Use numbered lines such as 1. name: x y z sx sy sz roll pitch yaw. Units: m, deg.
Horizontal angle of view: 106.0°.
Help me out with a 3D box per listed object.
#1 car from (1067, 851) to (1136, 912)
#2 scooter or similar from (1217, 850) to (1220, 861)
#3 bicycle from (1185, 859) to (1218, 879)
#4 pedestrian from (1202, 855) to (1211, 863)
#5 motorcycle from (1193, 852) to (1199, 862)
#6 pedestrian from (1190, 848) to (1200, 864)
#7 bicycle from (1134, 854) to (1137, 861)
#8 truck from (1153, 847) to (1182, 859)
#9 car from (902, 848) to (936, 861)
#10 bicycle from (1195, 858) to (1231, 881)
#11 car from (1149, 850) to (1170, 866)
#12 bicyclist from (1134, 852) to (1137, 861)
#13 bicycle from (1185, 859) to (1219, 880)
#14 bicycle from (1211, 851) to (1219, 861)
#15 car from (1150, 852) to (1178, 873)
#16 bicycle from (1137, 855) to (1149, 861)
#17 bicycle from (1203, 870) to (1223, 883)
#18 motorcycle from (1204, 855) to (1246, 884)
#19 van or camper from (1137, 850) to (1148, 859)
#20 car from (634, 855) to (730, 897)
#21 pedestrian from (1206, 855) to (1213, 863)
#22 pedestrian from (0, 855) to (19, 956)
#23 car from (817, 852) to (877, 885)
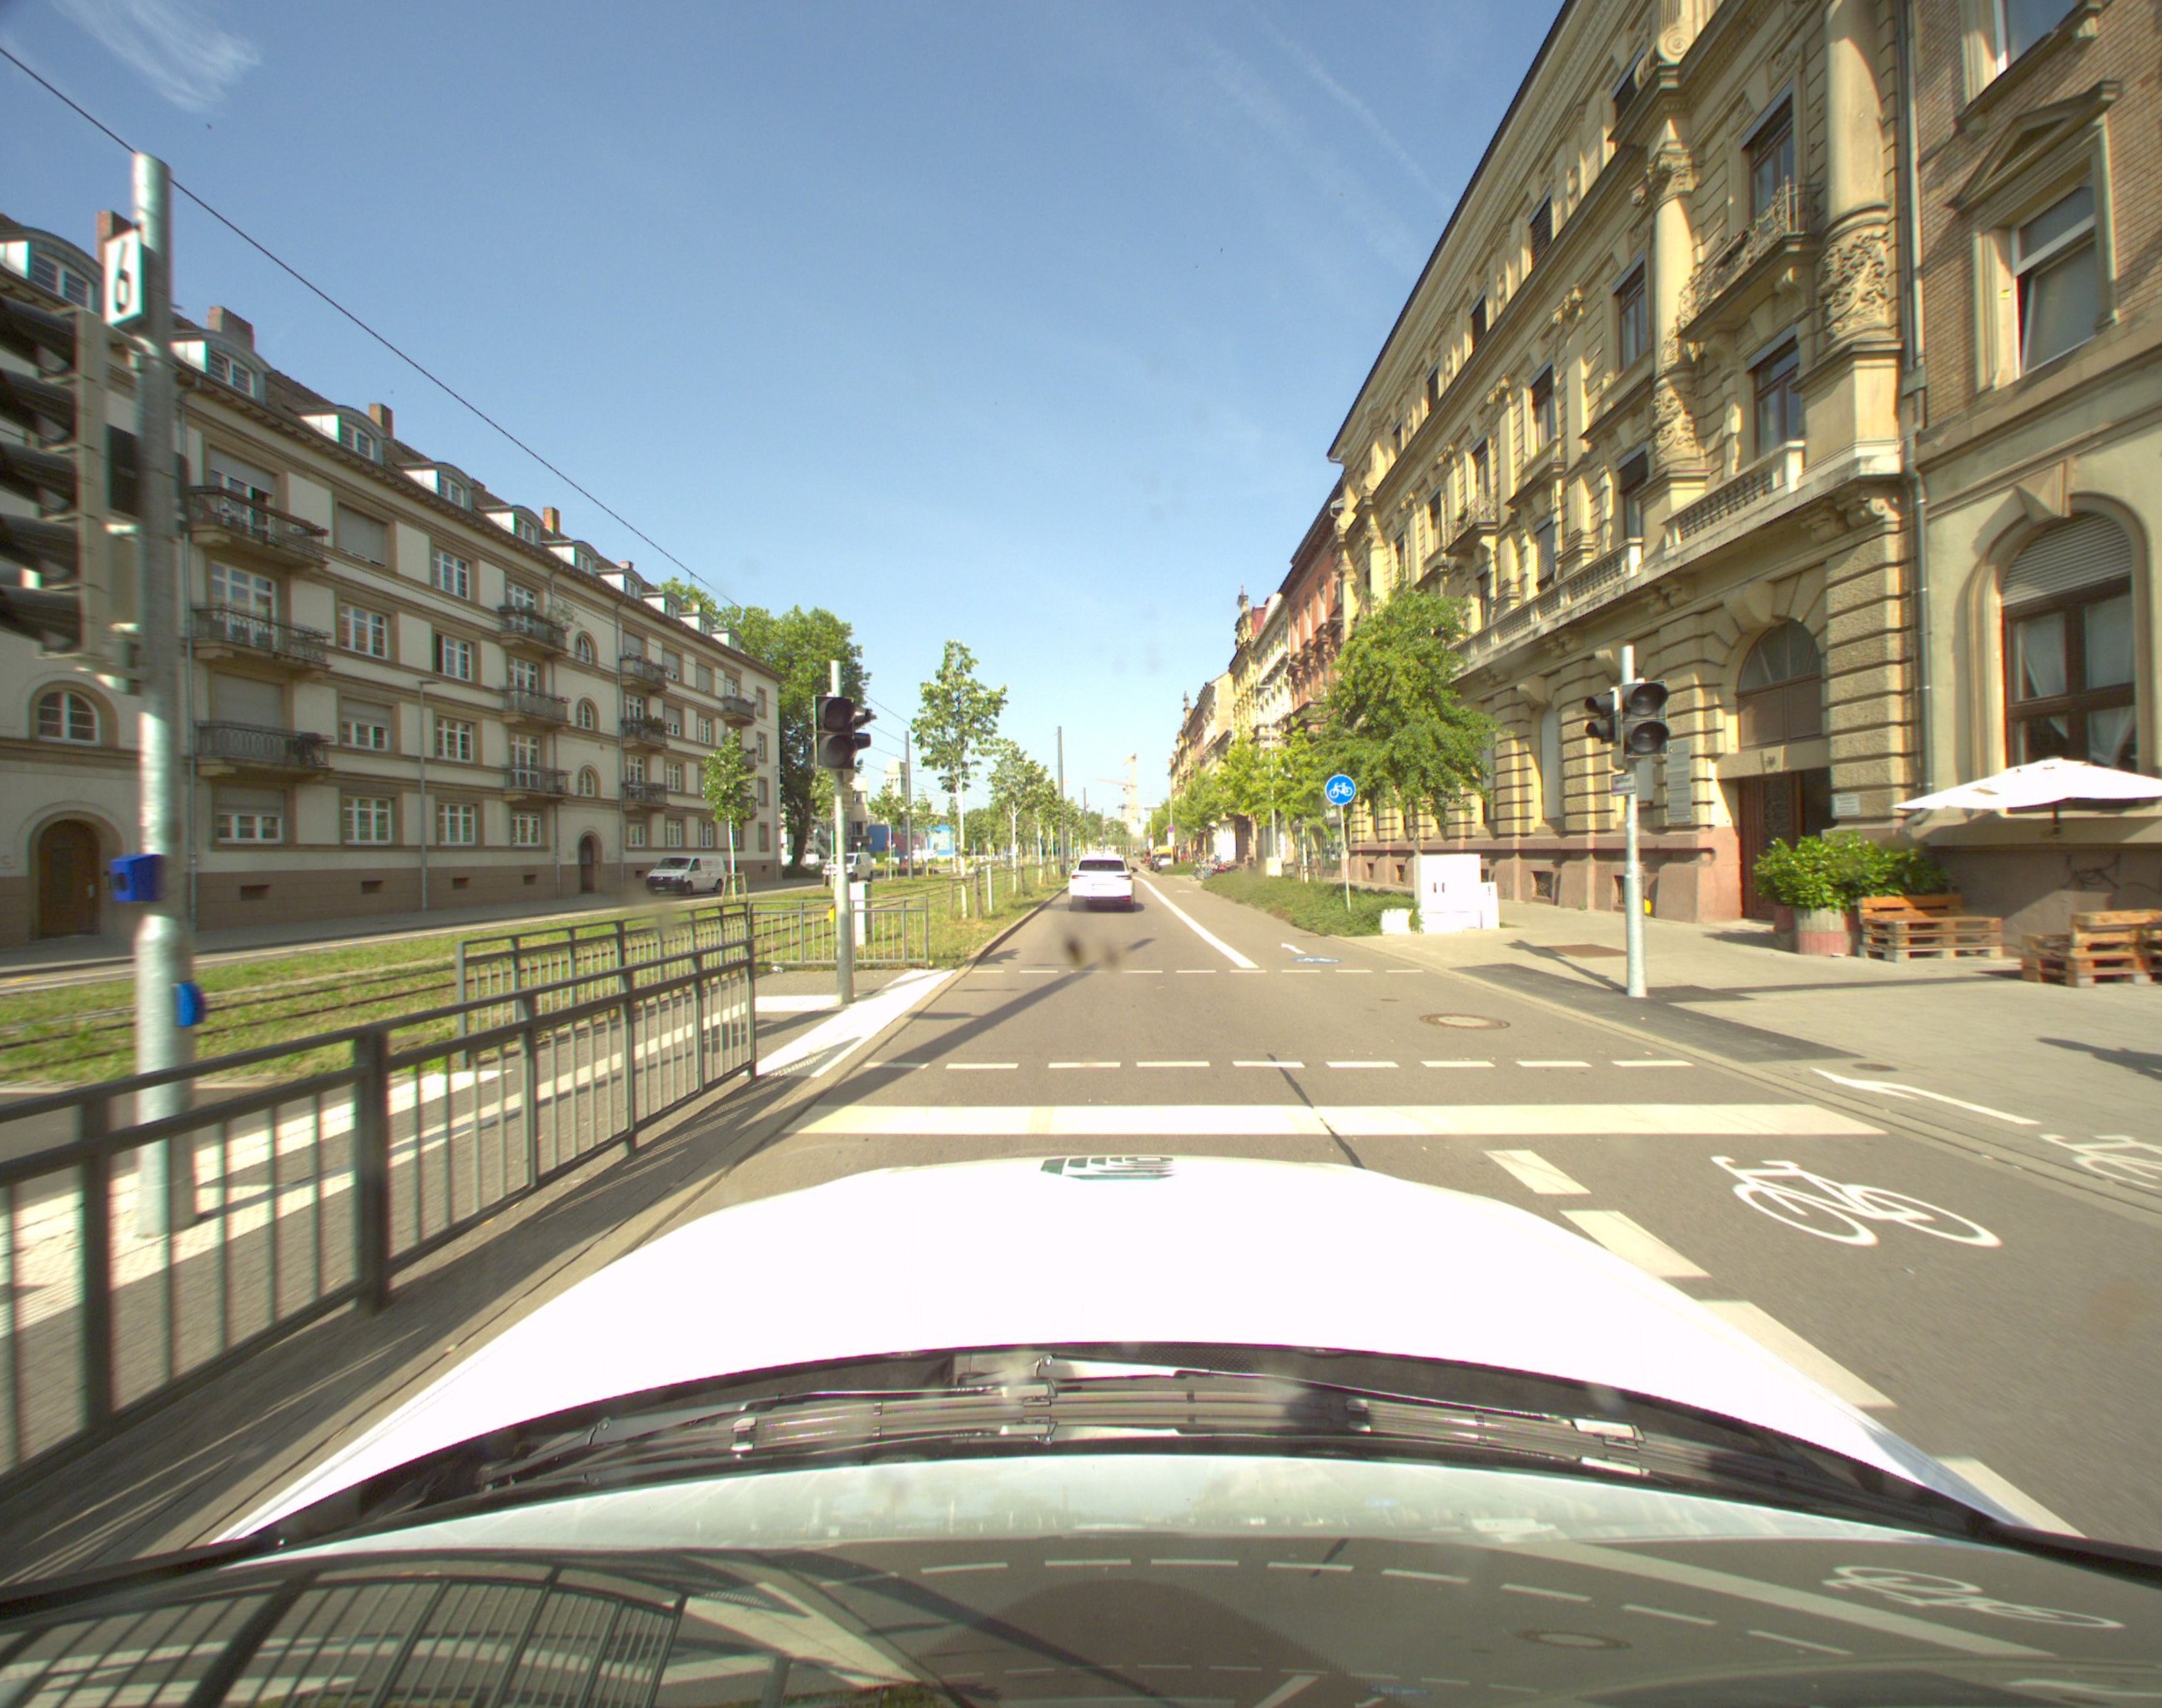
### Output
1. car: 0.641 0.733 23.692 1.810 1.590 4.409 -1 0 2
2. scooter or similar: 13.532 0.140 80.104 0.287 1.134 1.091 -1 0 8
3. bicycle: 6.742 0.840 45.657 1.778 1.054 0.373 -3 0 0
4. pedestrian: 13.807 0.556 89.636 0.875 0.876 0.711 -3 0 -1
5. motorcycle: 13.961 0.364 98.520 0.461 1.175 1.946 -3 0 3
6. pedestrian: 12.362 0.199 88.509 0.821 1.696 0.792 -3 0 -2
7. bicycle: 12.123 0.829 181.072 0.778 1.496 2.803 -1 0 4
8. truck: 17.740 -0.276 166.816 5.837 2.318 2.225 -1 0 8
9. car: -34.973 0.103 175.409 6.895 2.638 2.498 1 -1 -19
10. bicycle: 7.130 0.837 44.010 1.803 1.096 0.671 -3 0 -4
11. car: 7.171 0.333 74.687 1.729 1.396 4.719 -3 0 4
12. bicyclist: 12.131 0.618 180.911 0.706 1.895 0.844 -1 0 3
13. bicycle: 6.722 0.838 45.259 1.778 1.054 0.373 -3 0 0
14. bicycle: 13.962 0.196 84.806 0.450 1.083 1.445 -1 0 -7
15. car: 6.754 0.639 66.600 1.764 1.588 4.245 -3 0 -1
16. bicycle: 10.699 0.703 140.267 1.926 0.986 0.471 -3 0 3
17. bicycle: 6.703 1.130 41.407 0.954 0.609 0.361 -3 0 3
18. motorcycle: 7.059 0.750 39.777 2.049 1.287 0.698 -3 1 -34
19. van or camper: 12.221 0.167 162.406 1.986 1.655 4.002 -2 0 2
20. car: -19.697 1.007 40.483 1.985 1.918 5.156 0 0 3
21. pedestrian: 13.890 0.551 87.936 0.569 0.855 0.457 -4 0 -4
22. pedestrian: -22.675 1.063 16.477 0.839 2.068 1.157 0 0 3
23. car: -14.260 0.833 49.926 1.985 1.895 5.050 -2 0 3
